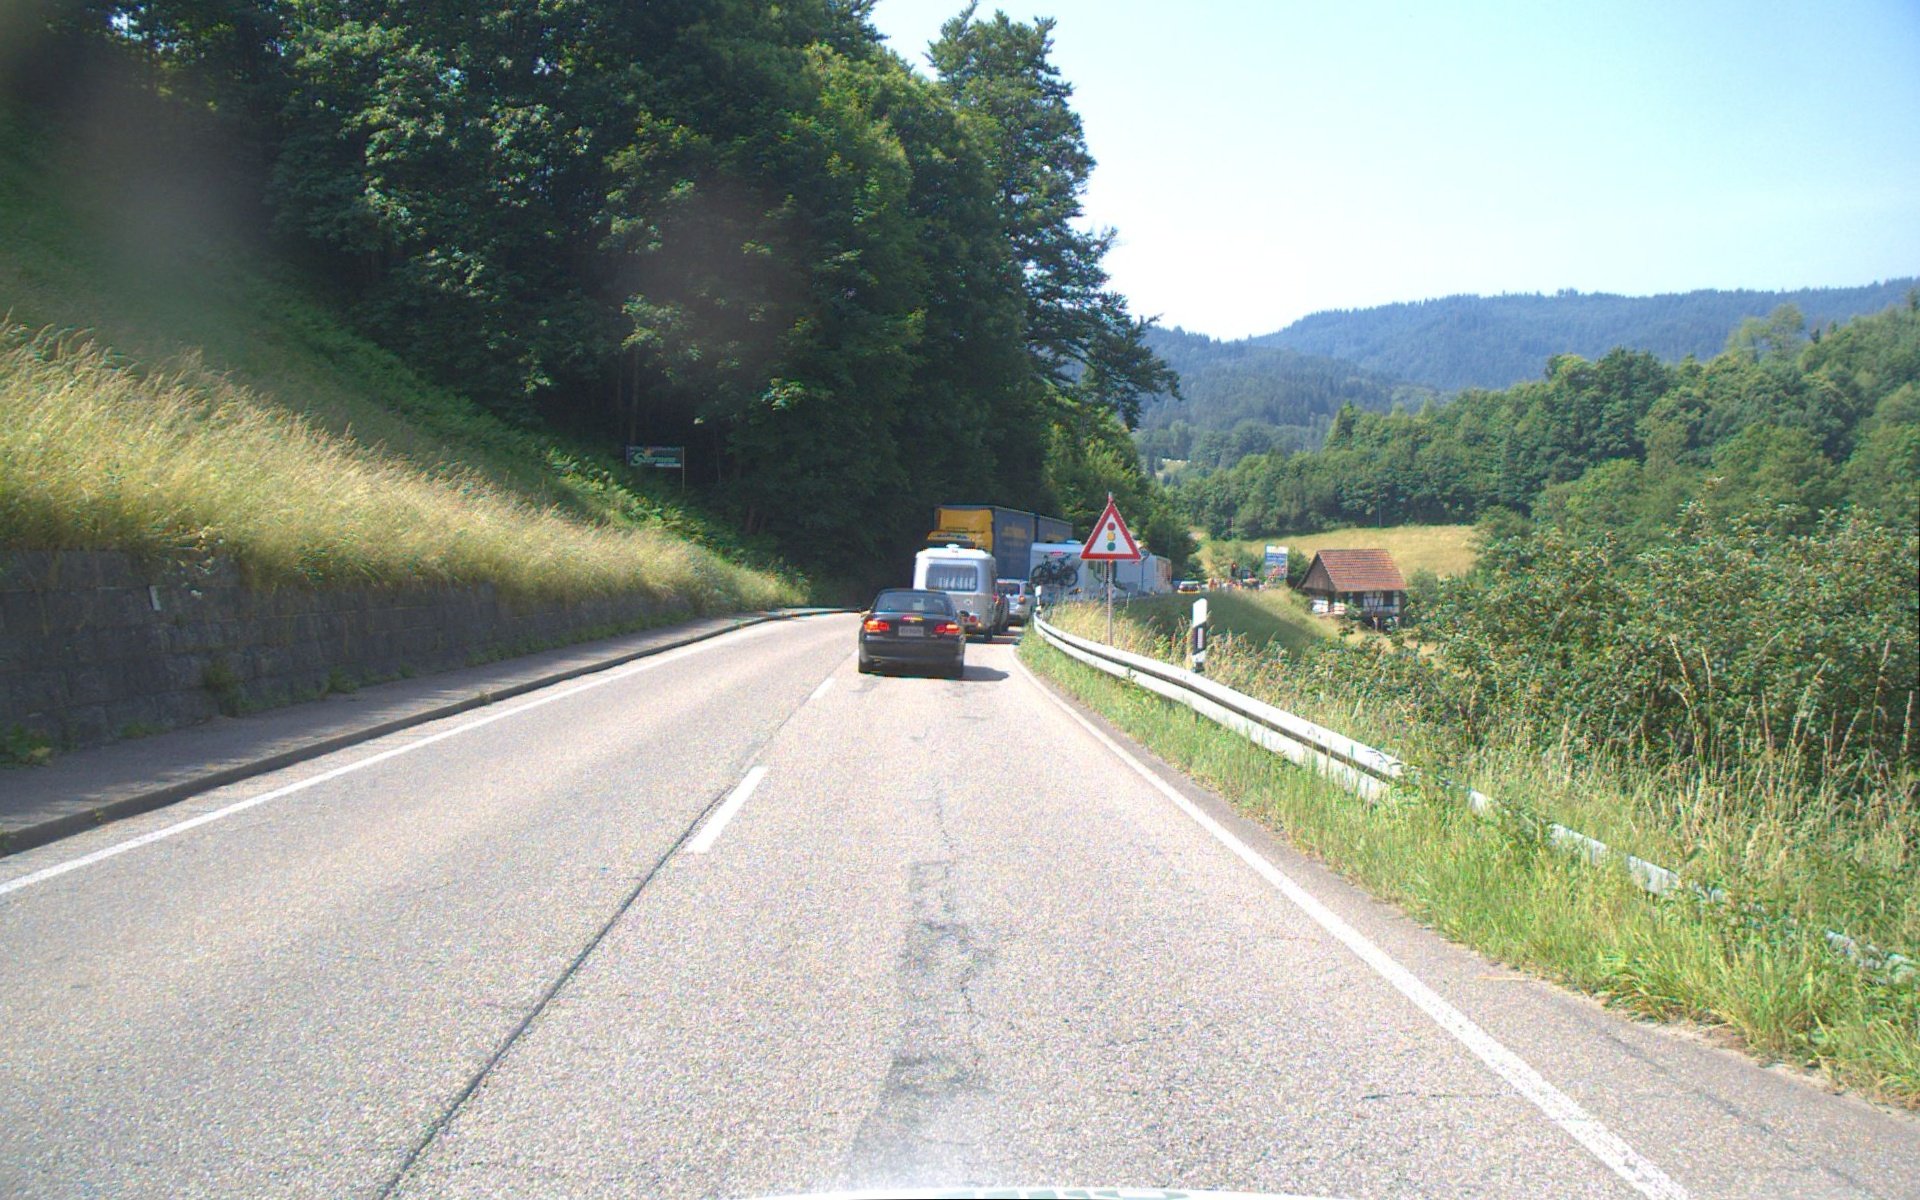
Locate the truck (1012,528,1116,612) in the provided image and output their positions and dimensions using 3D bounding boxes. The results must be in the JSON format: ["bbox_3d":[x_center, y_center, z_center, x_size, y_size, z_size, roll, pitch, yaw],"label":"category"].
[{"bbox_3d":[4.273,-1.203,66.480,2.732,3.049,6.873,4,2,15],"label":"truck"}]

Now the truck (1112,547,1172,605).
[{"bbox_3d":[9.799,-1.247,88.486,2.190,2.852,6.236,3,0,14],"label":"truck"}]

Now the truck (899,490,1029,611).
[{"bbox_3d":[0.255,-1.955,66.161,3.122,4.472,6.574,3,2,18],"label":"truck"}]

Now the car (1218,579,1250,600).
[{"bbox_3d":[22.742,-0.869,137.284,1.952,1.603,4.001,3,0,19],"label":"car"}]

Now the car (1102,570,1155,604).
[{"bbox_3d":[8.342,-0.650,81.766,1.750,1.489,4.002,4,2,17],"label":"car"}]

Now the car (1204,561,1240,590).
[{"bbox_3d":[19.067,-1.800,120.276,1.952,1.958,4.003,4,2,16],"label":"car"}]

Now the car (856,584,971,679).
[{"bbox_3d":[-0.824,0.471,27.428,1.736,1.359,3.765,2,1,-3],"label":"car"}]

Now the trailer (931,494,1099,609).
[{"bbox_3d":[2.785,-2.065,73.861,3.192,4.493,15.323,3,1,18],"label":"trailer"}]

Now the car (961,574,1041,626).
[{"bbox_3d":[1.391,-0.031,54.133,1.951,1.509,4.004,4,1,10],"label":"car"}]

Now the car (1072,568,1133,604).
[{"bbox_3d":[6.547,-0.657,75.467,1.952,1.489,4.003,4,2,16],"label":"car"}]

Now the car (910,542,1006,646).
[{"bbox_3d":[0.018,-0.228,41.843,1.952,2.393,4.918,2,2,5],"label":"car"}]
